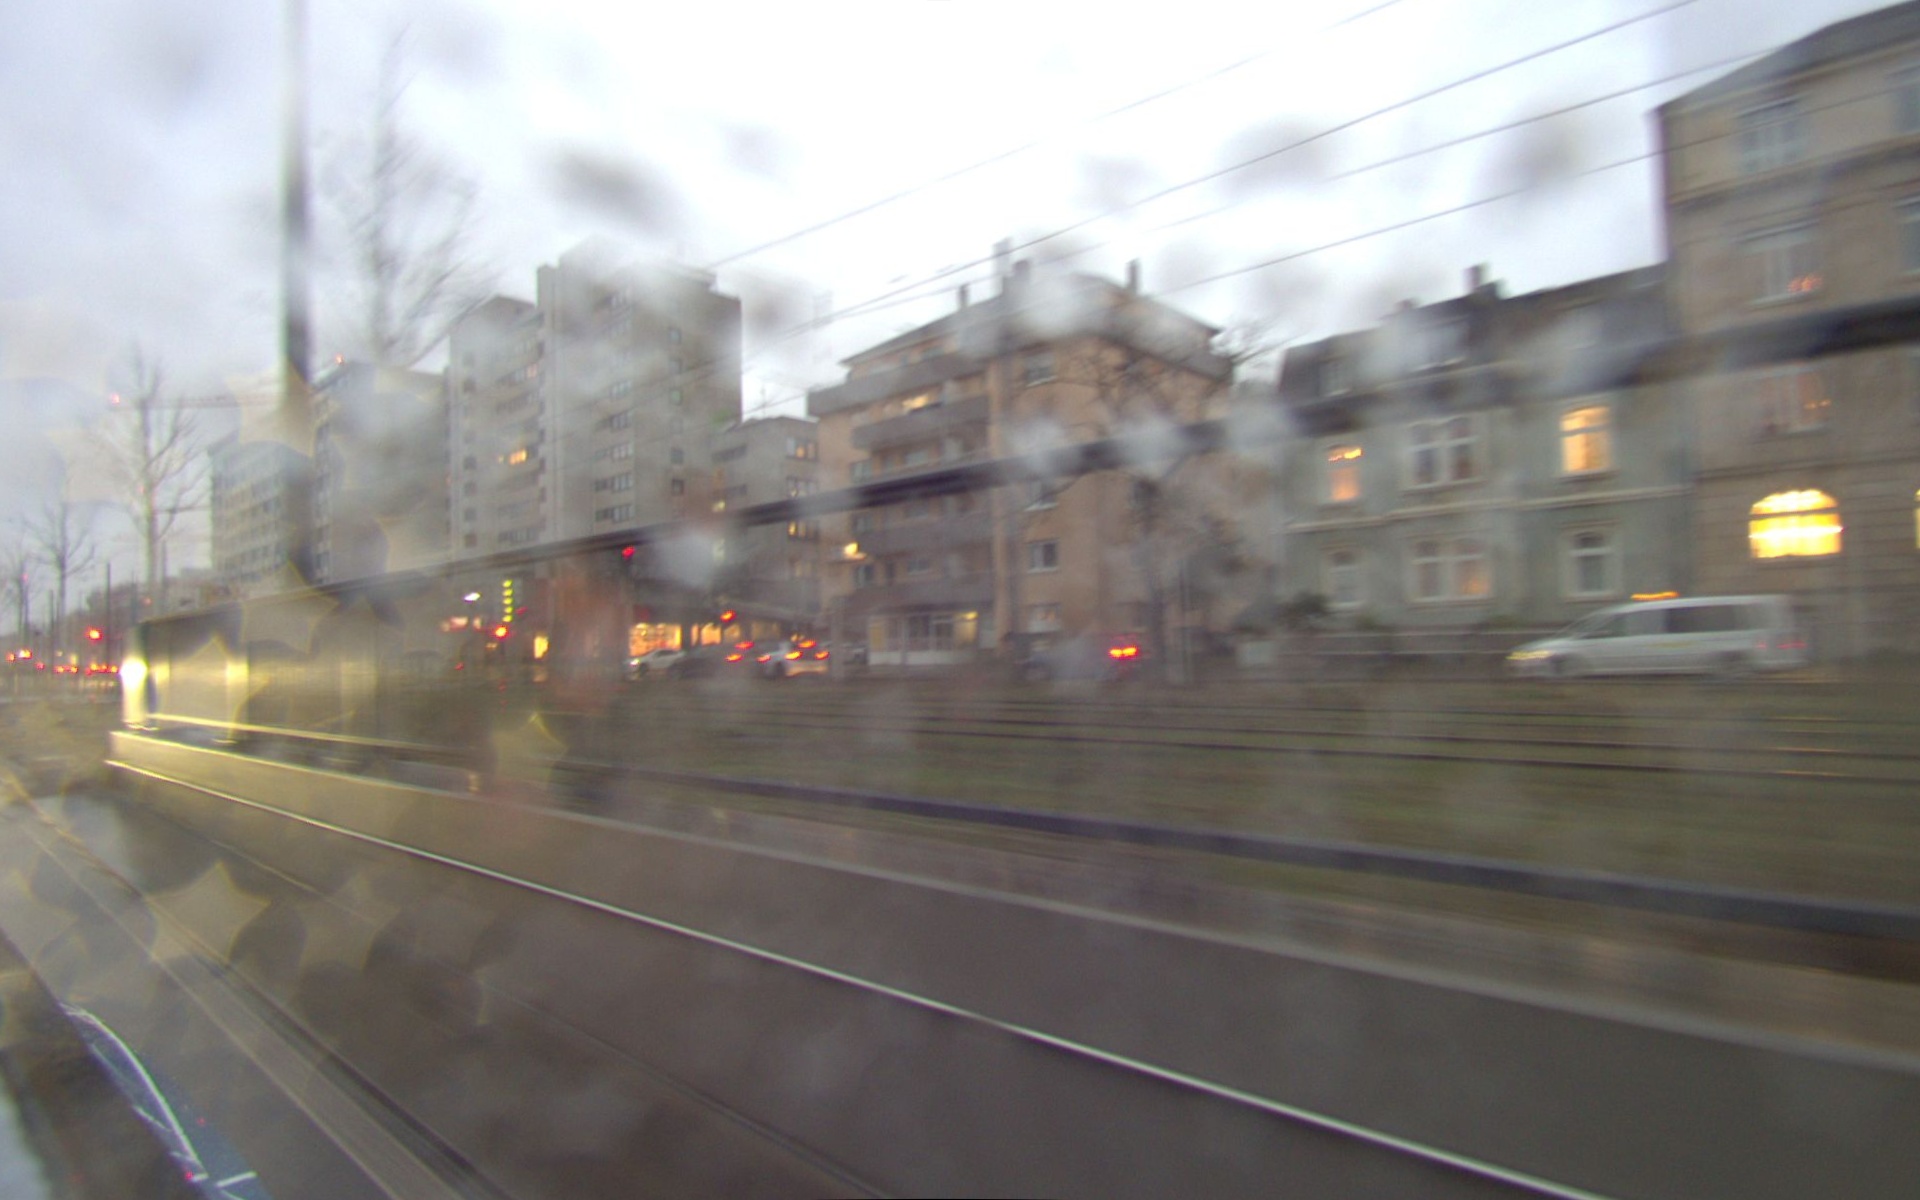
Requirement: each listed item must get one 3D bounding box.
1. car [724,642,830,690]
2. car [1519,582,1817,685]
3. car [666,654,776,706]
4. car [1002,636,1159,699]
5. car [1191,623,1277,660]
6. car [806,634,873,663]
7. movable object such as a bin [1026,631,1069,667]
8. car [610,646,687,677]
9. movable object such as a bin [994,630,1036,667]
[{"bbox_3d":[-6.920,2.450,38.074,3.999,1.597,1.782,-3,-1,42],"label":"car"},{"bbox_3d":[14.809,0.782,21.387,4.908,1.948,1.973,-4,-4,40],"label":"car"},{"bbox_3d":[-8.475,2.782,35.793,3.999,1.597,1.782,-3,-1,42],"label":"car"},{"bbox_3d":[3.497,1.976,29.546,4.095,1.705,1.979,-3,-4,30],"label":"car"},{"bbox_3d":[11.345,1.711,41.750,1.832,1.417,3.945,-5,-5,41],"label":"car"},{"bbox_3d":[-7.215,2.903,60.835,1.777,1.564,3.786,-4,-3,41],"label":"car"},{"bbox_3d":[3.713,2.071,43.089,1.423,1.492,1.096,-4,-4,40],"label":"movable object such as a bin"},{"bbox_3d":[-18.056,3.570,58.852,1.685,1.523,3.945,-3,-1,42],"label":"car"},{"bbox_3d":[2.390,2.132,44.224,1.423,1.573,1.096,-4,-4,40],"label":"movable object such as a bin"}]
